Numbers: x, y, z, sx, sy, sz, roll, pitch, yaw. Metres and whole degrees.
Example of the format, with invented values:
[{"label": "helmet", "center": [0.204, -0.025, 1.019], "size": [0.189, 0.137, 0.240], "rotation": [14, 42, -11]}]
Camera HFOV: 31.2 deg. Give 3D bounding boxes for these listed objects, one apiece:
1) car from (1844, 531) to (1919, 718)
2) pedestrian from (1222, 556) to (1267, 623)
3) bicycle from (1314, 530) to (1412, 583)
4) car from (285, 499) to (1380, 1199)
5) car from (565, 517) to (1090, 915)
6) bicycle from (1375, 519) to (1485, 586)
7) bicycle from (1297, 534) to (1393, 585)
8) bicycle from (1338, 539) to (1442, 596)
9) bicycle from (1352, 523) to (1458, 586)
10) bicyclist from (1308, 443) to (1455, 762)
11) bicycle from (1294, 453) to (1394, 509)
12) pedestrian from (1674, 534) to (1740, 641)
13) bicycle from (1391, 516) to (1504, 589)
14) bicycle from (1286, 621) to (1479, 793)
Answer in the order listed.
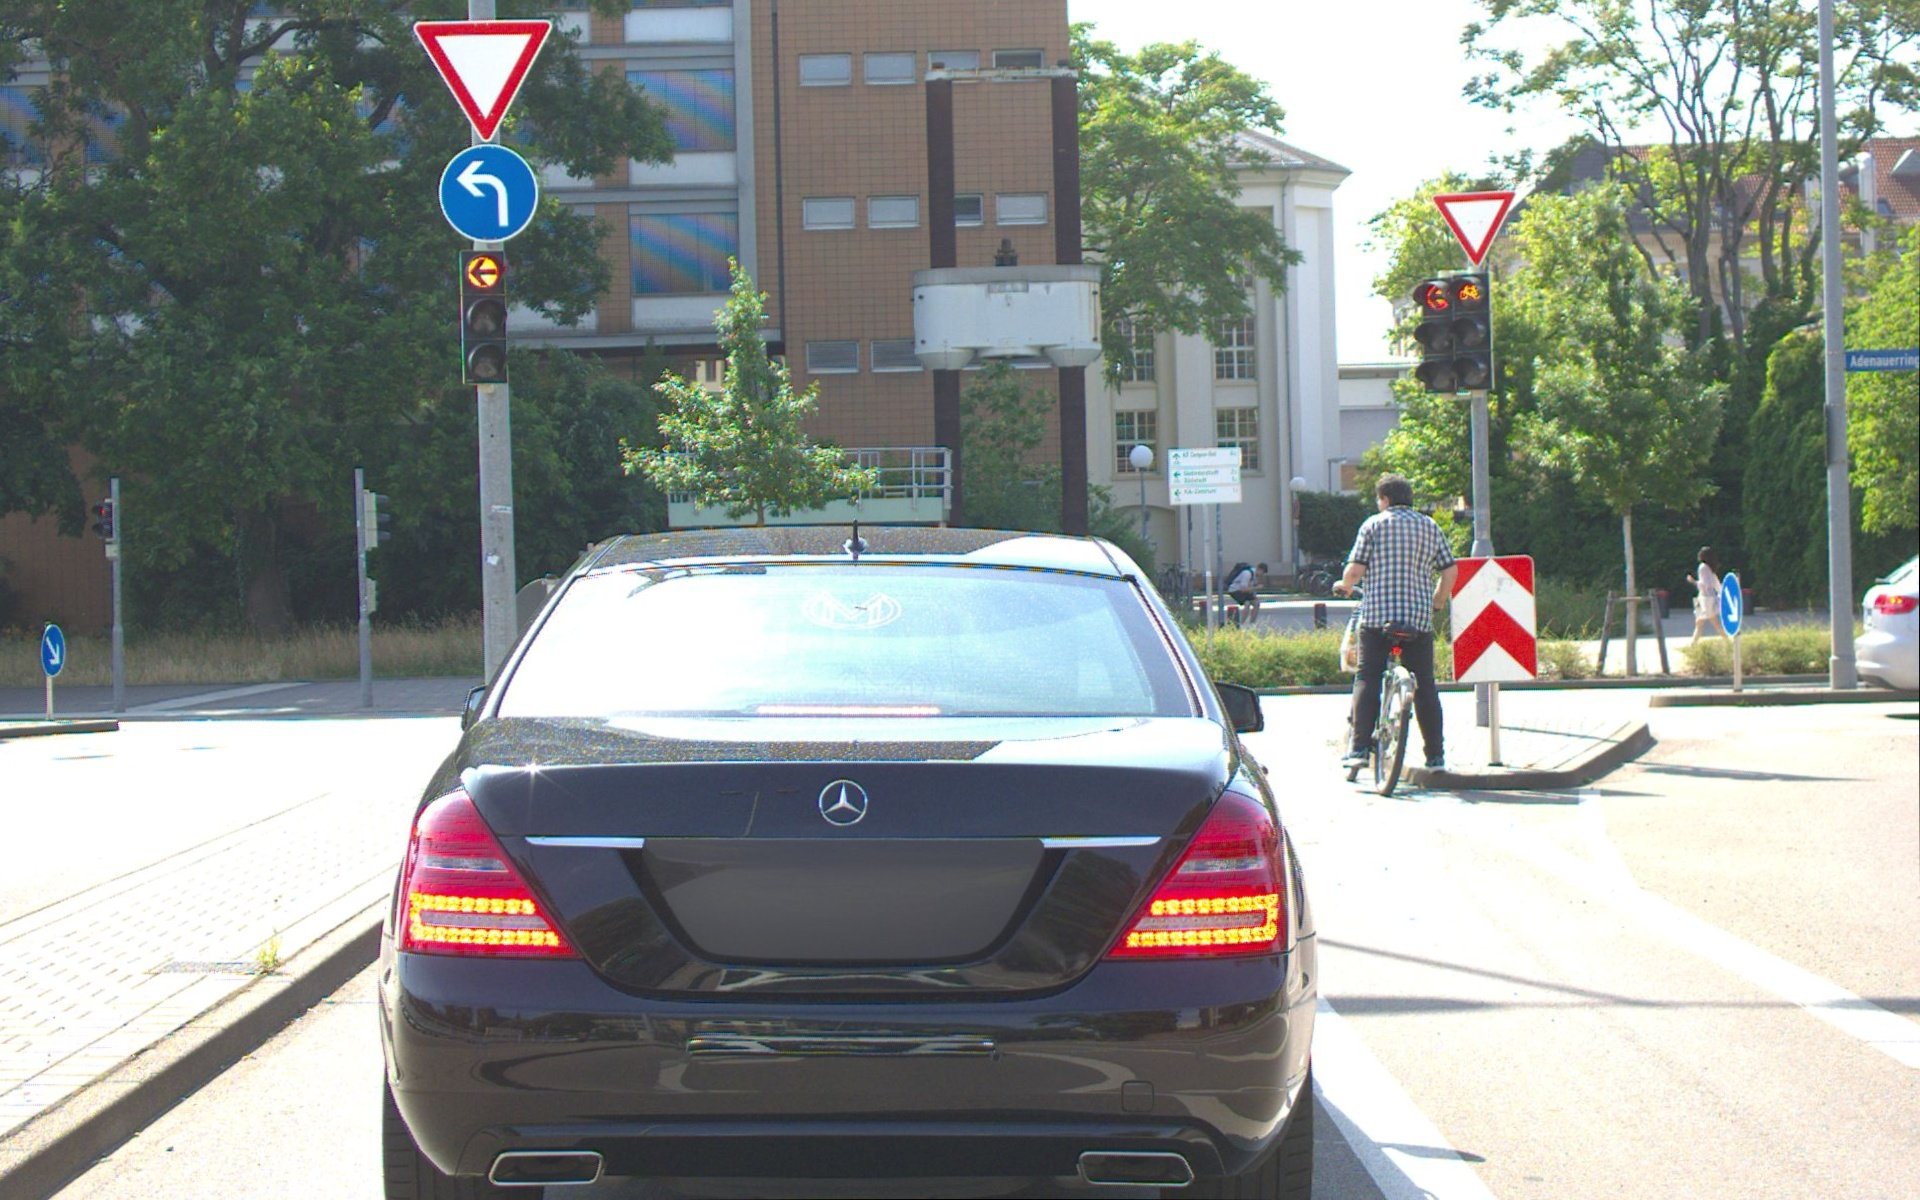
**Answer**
[{"label": "car", "center": [9.123, 0.123, 26.828], "size": [4.160, 1.415, 1.584], "rotation": [-2, 1, 10]}, {"label": "pedestrian", "center": [5.271, -0.196, 63.740], "size": [0.793, 1.209, 0.757], "rotation": [1, 0, 6]}, {"label": "bicycle", "center": [12.257, -1.322, 104.543], "size": [2.823, 1.495, 0.842], "rotation": [-2, 1, -1]}, {"label": "car", "center": [-0.336, 0.574, 8.219], "size": [1.858, 1.525, 4.714], "rotation": [0, 1, -3]}, {"label": "car", "center": [-0.532, 0.426, 15.187], "size": [1.993, 1.503, 4.000], "rotation": [1, 1, -1]}, {"label": "bicycle", "center": [12.804, -1.293, 93.779], "size": [2.823, 1.738, 0.842], "rotation": [-2, 1, -1]}, {"label": "bicycle", "center": [11.859, -1.259, 106.068], "size": [2.823, 1.475, 0.841], "rotation": [-2, 1, 0]}, {"label": "bicycle", "center": [12.302, -0.934, 98.352], "size": [2.823, 1.532, 0.842], "rotation": [-2, 1, -1]}, {"label": "bicycle", "center": [12.458, -1.278, 96.325], "size": [2.823, 1.653, 0.842], "rotation": [-2, 2, -1]}, {"label": "bicyclist", "center": [2.514, 0.009, 20.590], "size": [0.685, 1.872, 0.860], "rotation": [0, 0, -7]}, {"label": "bicycle", "center": [11.425, -3.535, 102.434], "size": [2.823, 1.553, 0.842], "rotation": [-2, 1, -1]}, {"label": "pedestrian", "center": [11.228, -0.189, 51.695], "size": [0.811, 1.574, 0.692], "rotation": [-2, 0, 2]}, {"label": "bicycle", "center": [12.972, -1.268, 91.520], "size": [2.823, 1.830, 0.842], "rotation": [-2, 1, -1]}, {"label": "bicycle", "center": [2.510, 0.618, 20.626], "size": [0.692, 0.943, 1.959], "rotation": [1, 1, -7]}]
